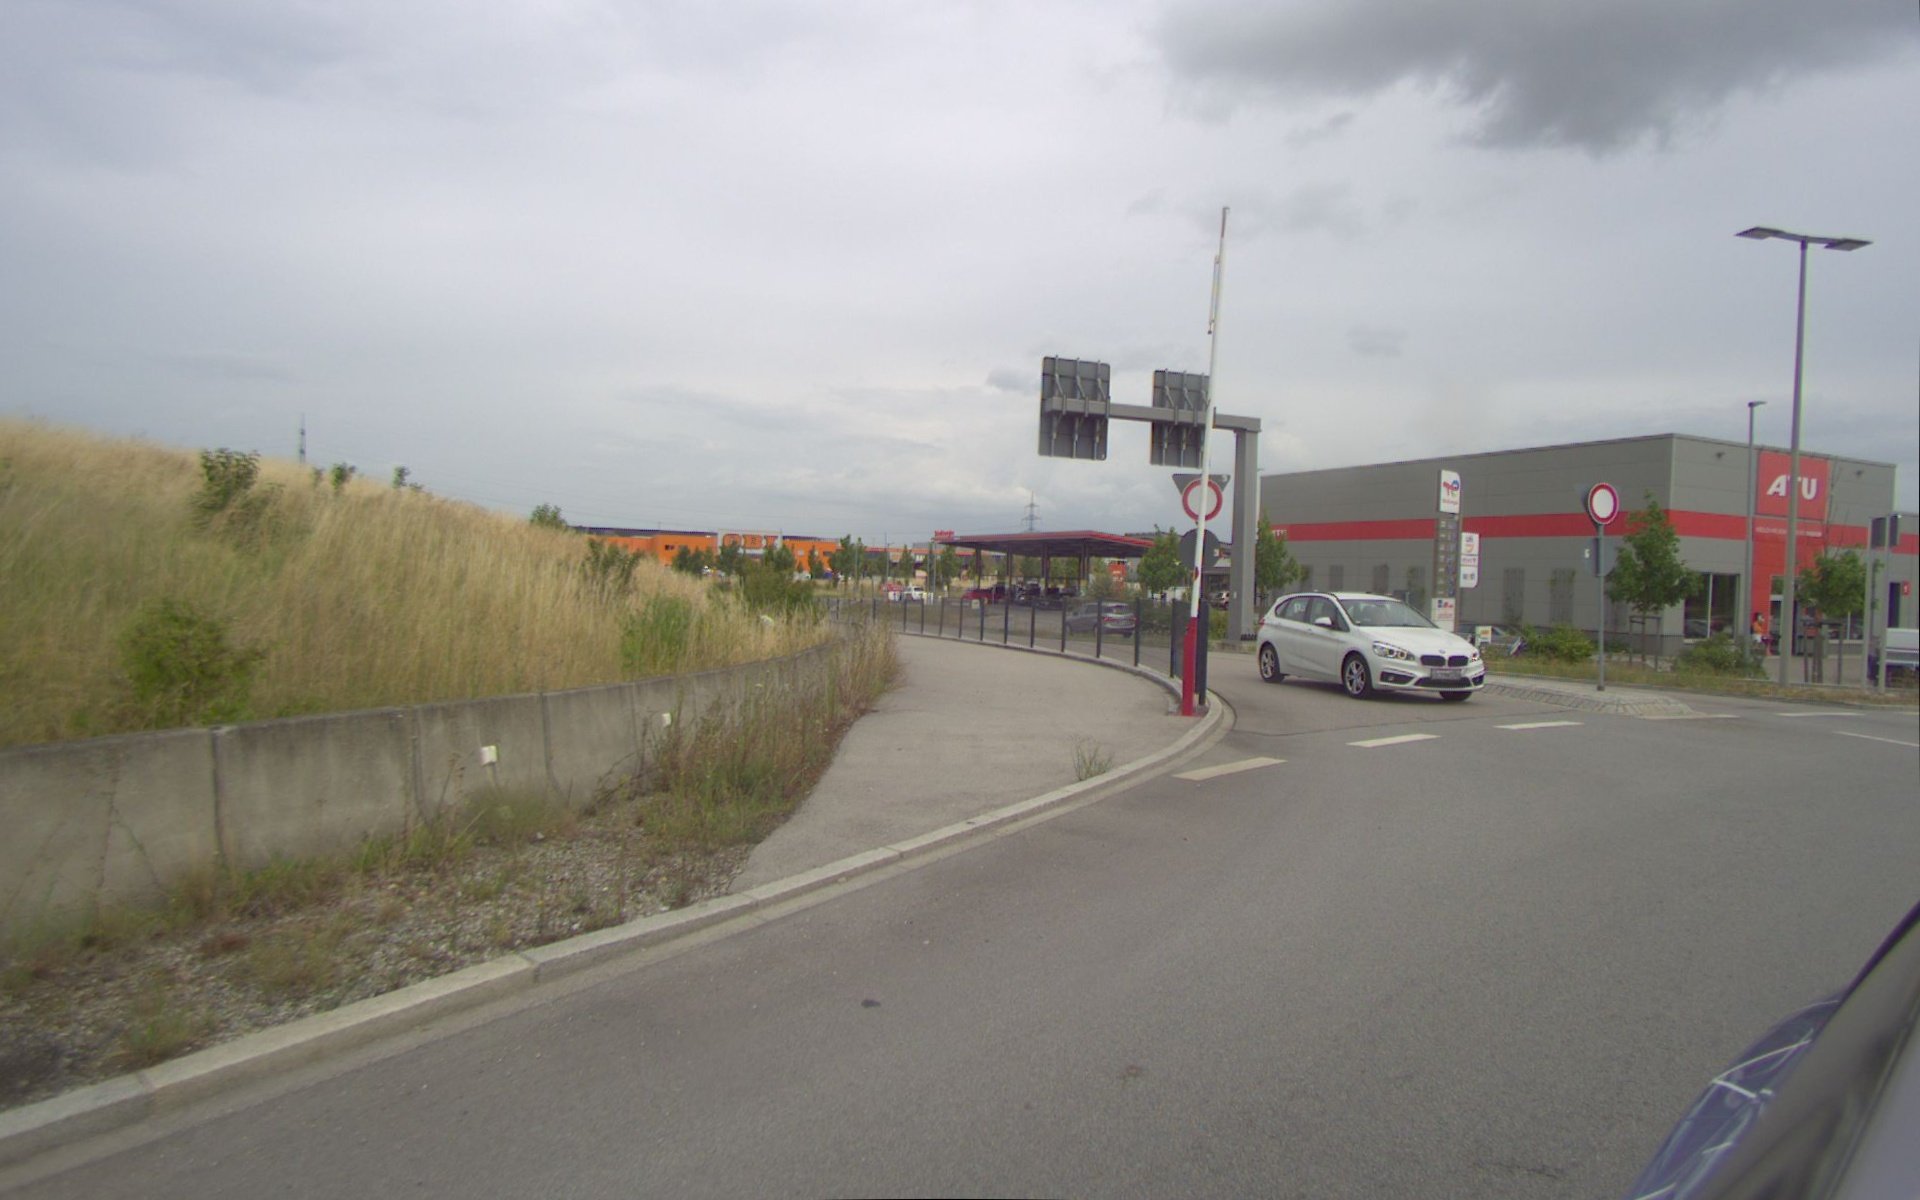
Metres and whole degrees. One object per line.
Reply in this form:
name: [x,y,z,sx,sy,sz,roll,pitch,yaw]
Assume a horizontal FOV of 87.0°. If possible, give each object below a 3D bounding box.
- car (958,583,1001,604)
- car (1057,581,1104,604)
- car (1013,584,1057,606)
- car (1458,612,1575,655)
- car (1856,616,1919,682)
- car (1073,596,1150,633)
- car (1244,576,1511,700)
car: [1.868,-0.611,95.396,3.767,1.817,1.715,3,-1,-37]
car: [10.561,-0.615,88.663,3.760,1.817,1.719,3,-1,-27]
car: [6.897,-0.479,93.066,3.767,1.817,1.715,3,-1,-37]
car: [21.871,1.284,39.924,3.688,1.594,1.907,0,-1,17]
car: [32.570,1.690,32.625,1.959,2.072,5.088,2,1,-27]
car: [6.935,0.627,46.637,1.877,1.593,4.009,0,1,-18]
car: [6.331,0.494,15.995,1.747,1.649,4.435,2,1,-10]
